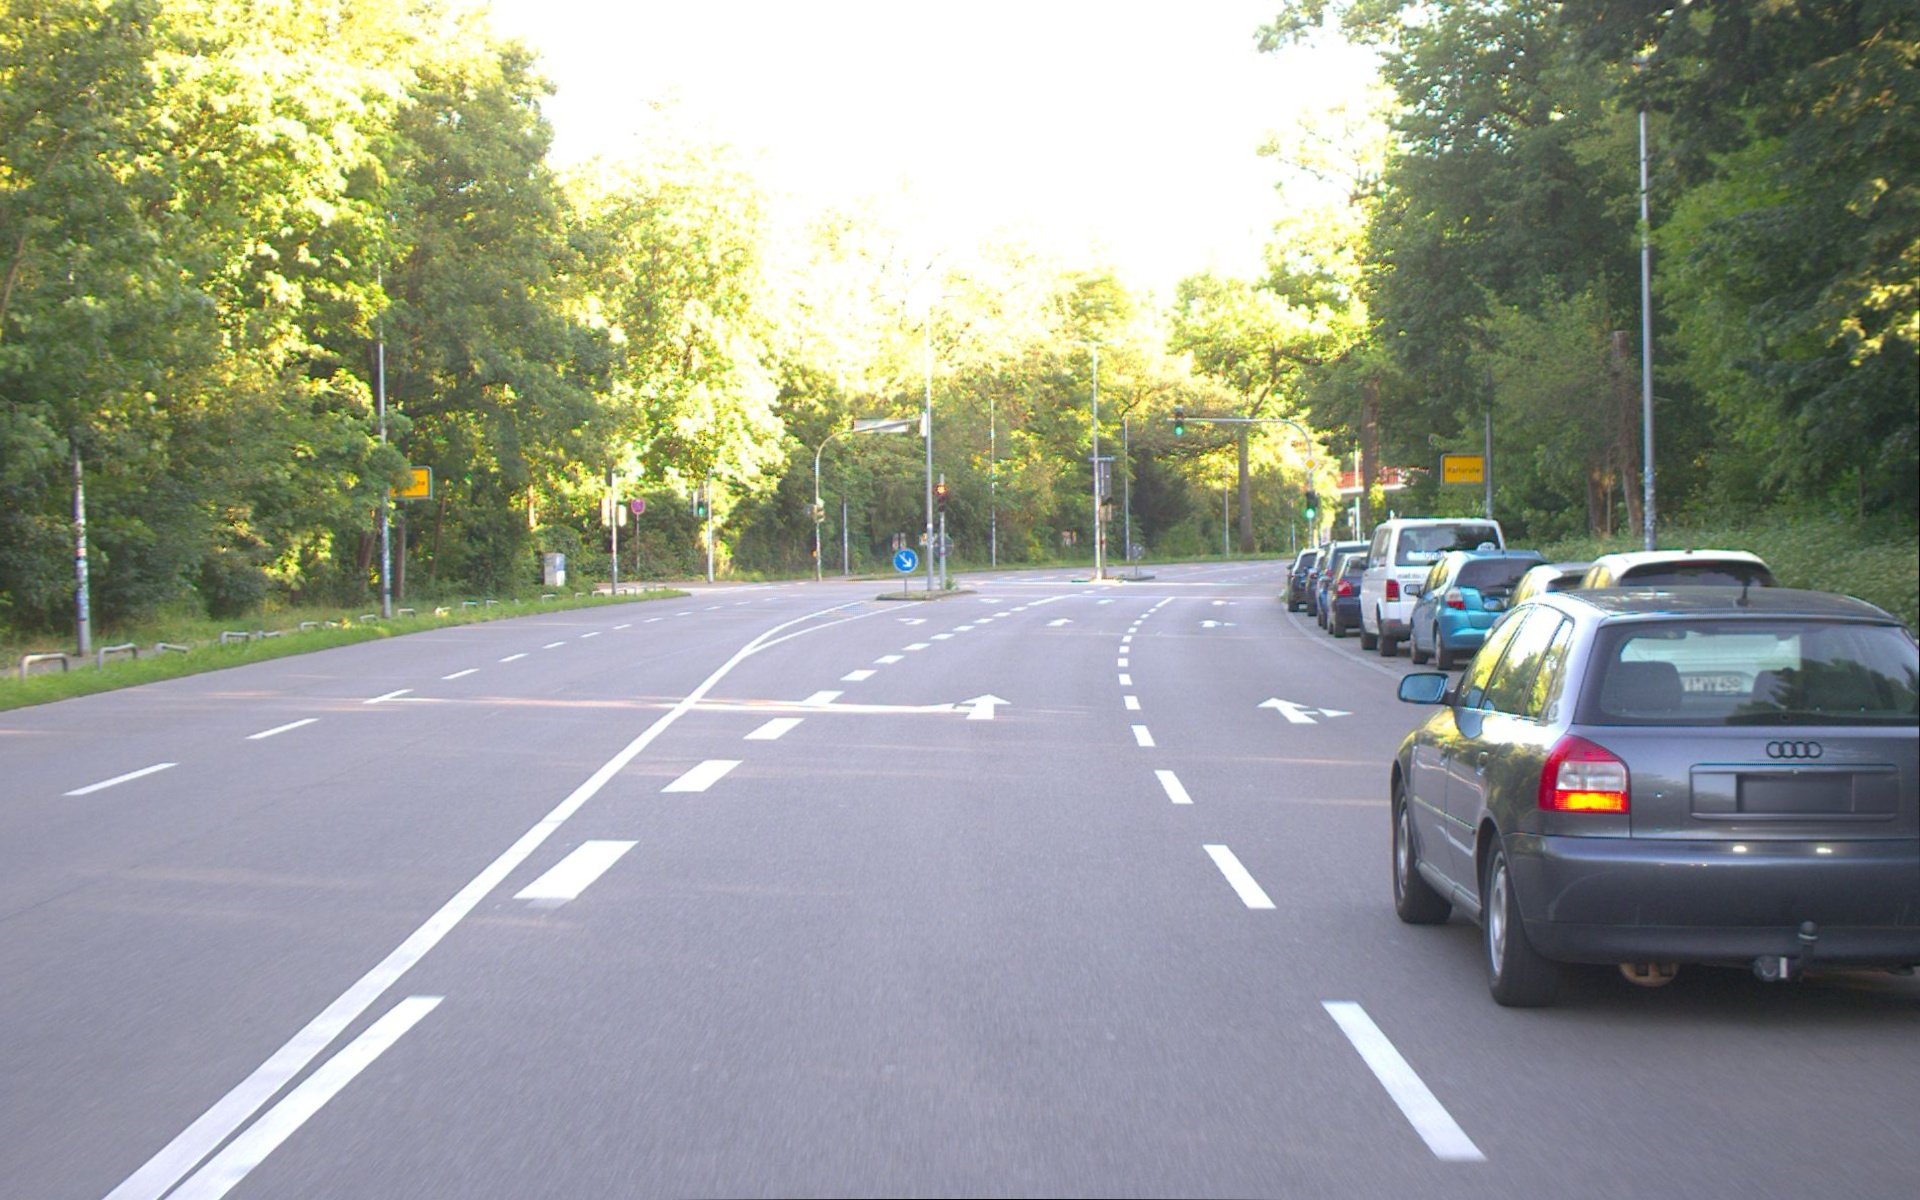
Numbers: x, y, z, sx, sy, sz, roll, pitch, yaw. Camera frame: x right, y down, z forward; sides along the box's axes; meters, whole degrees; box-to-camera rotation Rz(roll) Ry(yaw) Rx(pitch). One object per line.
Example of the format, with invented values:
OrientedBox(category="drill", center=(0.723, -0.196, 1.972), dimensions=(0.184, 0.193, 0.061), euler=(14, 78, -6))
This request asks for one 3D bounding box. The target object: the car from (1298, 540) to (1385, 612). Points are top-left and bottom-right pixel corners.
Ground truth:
OrientedBox(category="car", center=(8.448, -0.547, 76.354), dimensions=(1.728, 1.485, 4.089), euler=(-2, 1, 4))

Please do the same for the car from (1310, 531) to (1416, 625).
OrientedBox(category="car", center=(7.688, -0.449, 65.876), dimensions=(1.728, 1.698, 4.089), euler=(-2, 1, 3))

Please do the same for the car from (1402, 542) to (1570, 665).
OrientedBox(category="car", center=(6.754, 0.010, 44.477), dimensions=(1.648, 1.517, 3.867), euler=(0, 1, 1))

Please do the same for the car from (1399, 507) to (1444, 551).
OrientedBox(category="car", center=(24.601, -3.788, 183.282), dimensions=(2.309, 2.328, 4.558), euler=(0, 1, 9))

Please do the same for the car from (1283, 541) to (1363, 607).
OrientedBox(category="car", center=(8.642, -0.634, 82.024), dimensions=(1.728, 1.456, 4.166), euler=(-2, 1, 4))

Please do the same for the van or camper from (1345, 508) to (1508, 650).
OrientedBox(category="van or camper", center=(6.821, -0.347, 50.743), dimensions=(1.832, 1.963, 5.341), euler=(0, 1, 2))

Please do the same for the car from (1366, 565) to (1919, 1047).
OrientedBox(category="car", center=(2.581, 0.613, 12.596), dimensions=(1.727, 1.436, 4.090), euler=(0, 1, 0))

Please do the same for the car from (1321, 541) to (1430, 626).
OrientedBox(category="car", center=(7.280, -0.318, 60.464), dimensions=(1.650, 1.436, 4.113), euler=(0, 1, 3))

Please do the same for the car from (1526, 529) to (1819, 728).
OrientedBox(category="car", center=(5.795, 0.185, 28.383), dimensions=(1.728, 1.517, 4.090), euler=(0, 1, 2))

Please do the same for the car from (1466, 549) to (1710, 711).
OrientedBox(category="car", center=(5.951, 0.242, 32.982), dimensions=(1.728, 1.405, 4.090), euler=(-1, 1, 2))
